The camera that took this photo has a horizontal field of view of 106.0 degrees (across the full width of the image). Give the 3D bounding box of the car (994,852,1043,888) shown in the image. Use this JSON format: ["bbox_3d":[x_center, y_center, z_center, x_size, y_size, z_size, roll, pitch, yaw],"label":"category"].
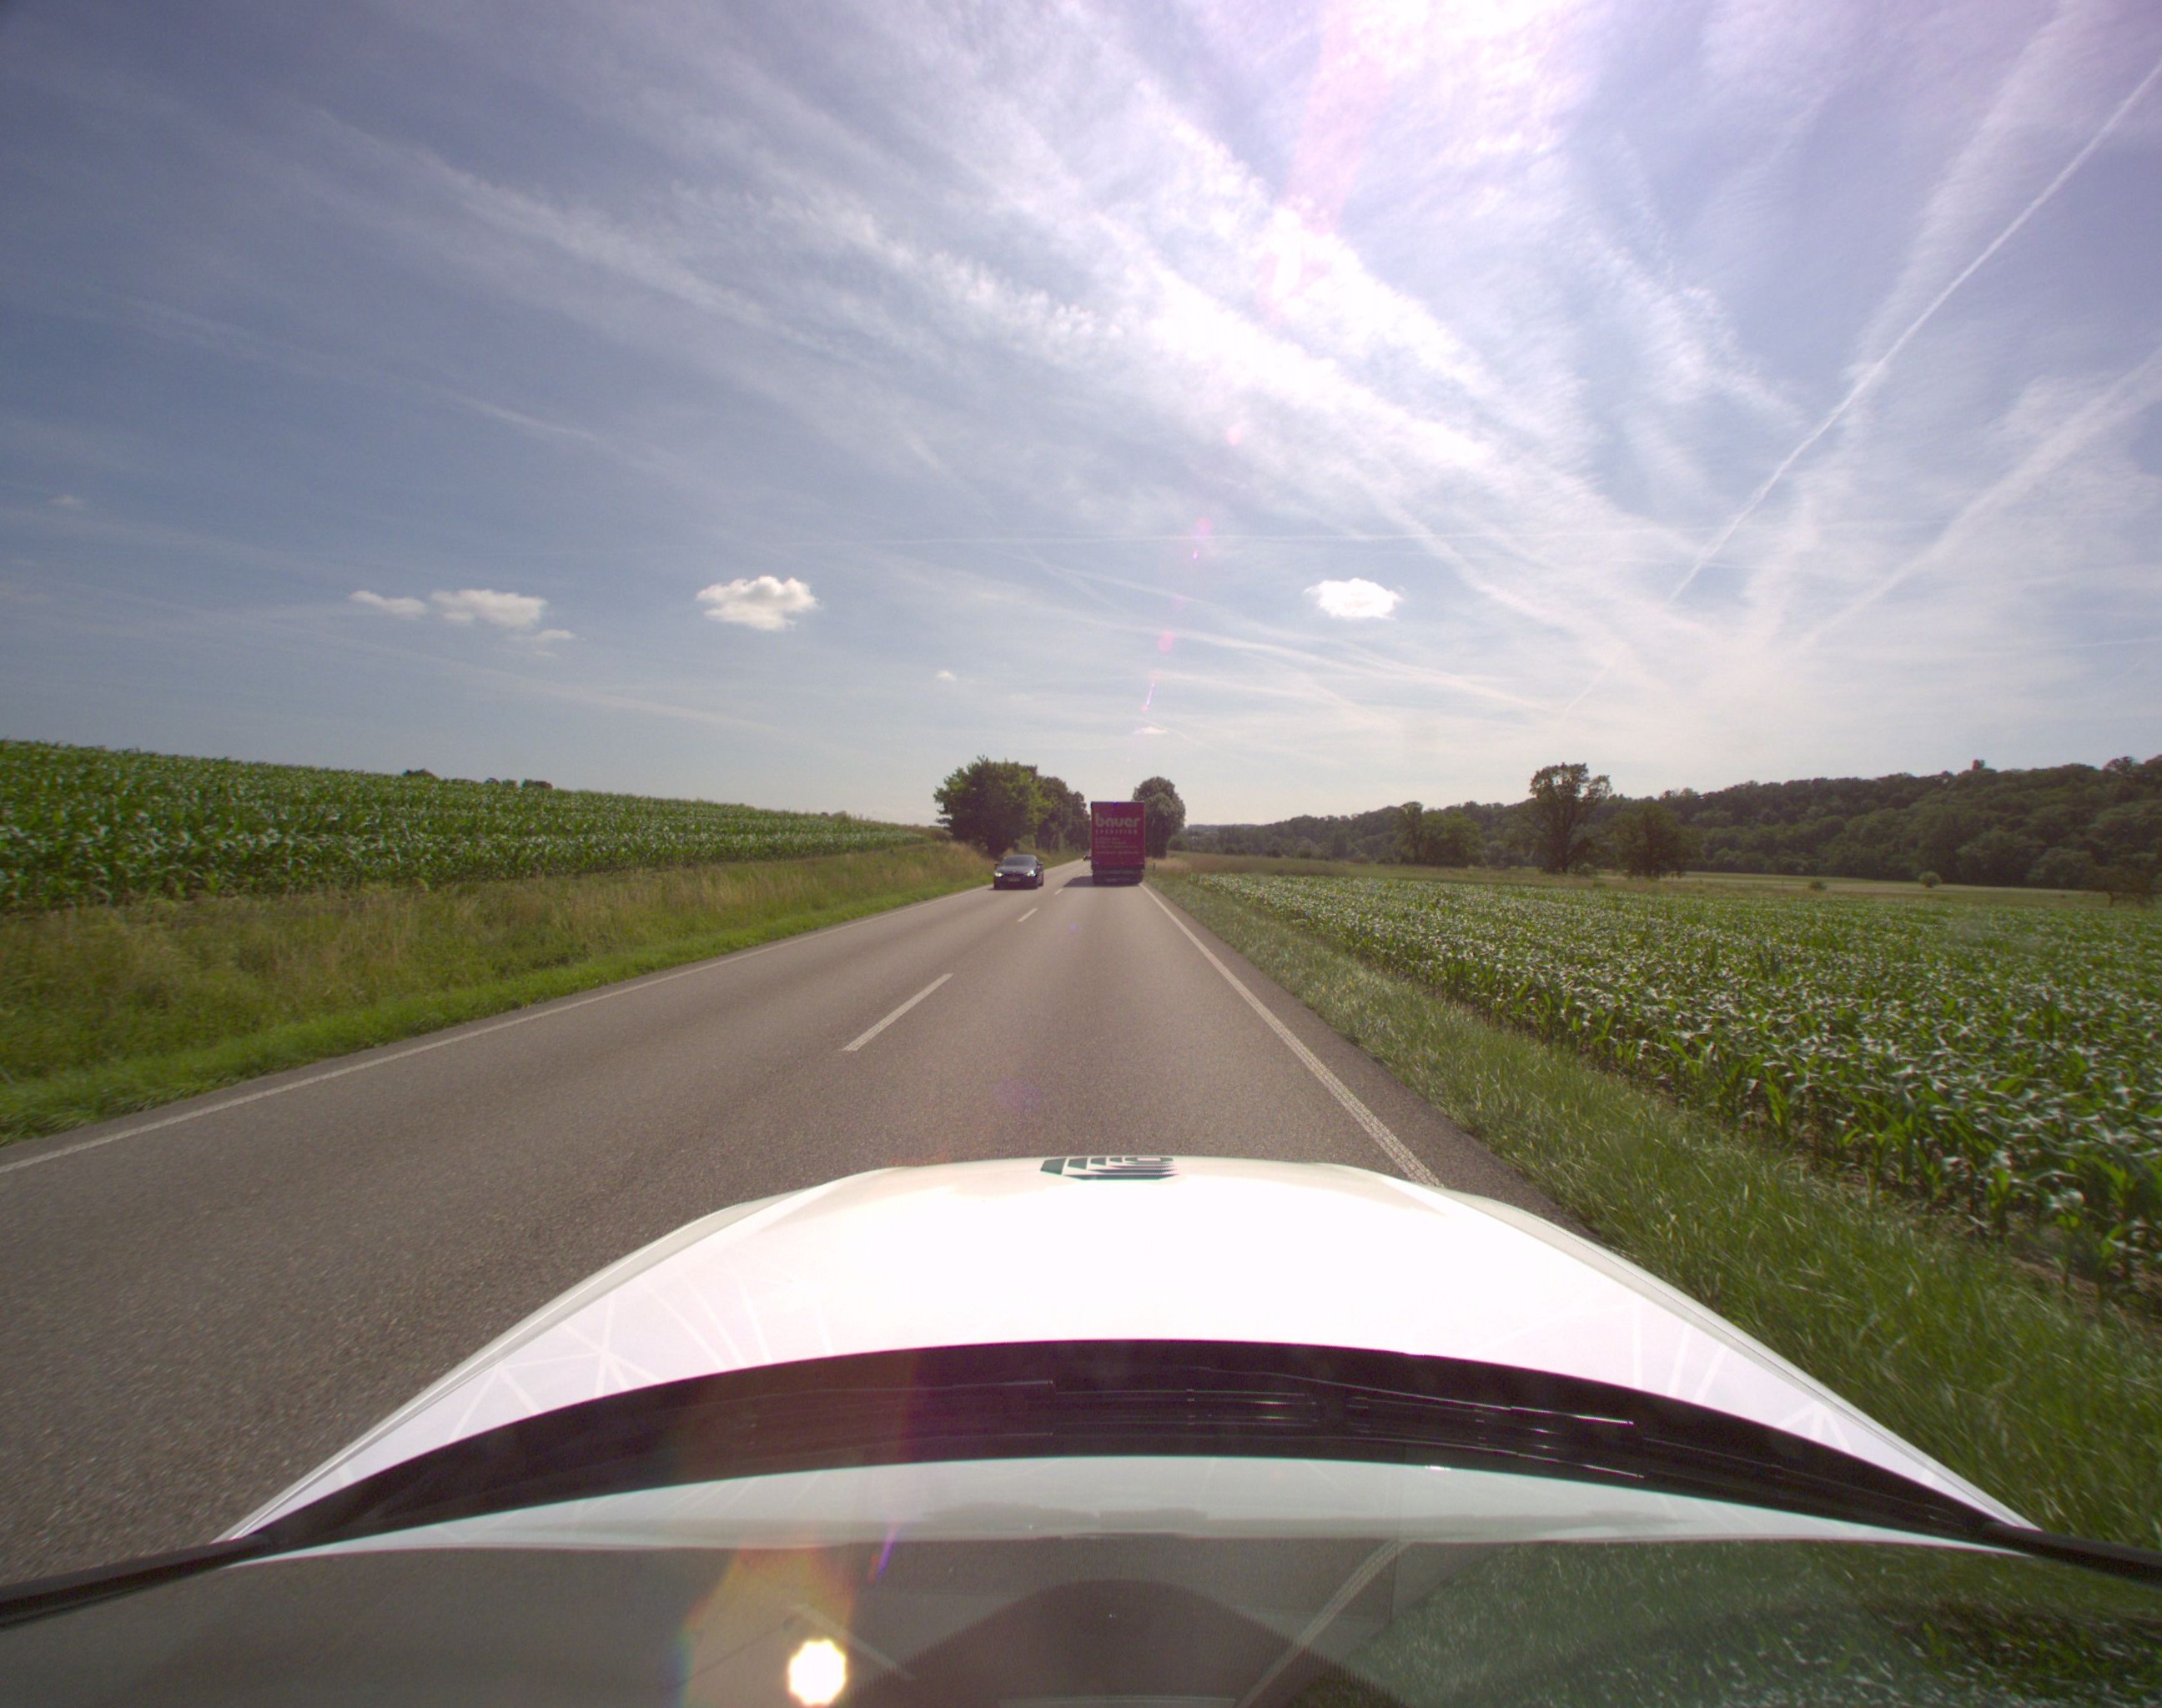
[{"bbox_3d":[-2.698,0.673,35.896,1.667,1.457,4.353,-1,0,2],"label":"car"}]

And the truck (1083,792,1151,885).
[{"bbox_3d":[1.966,-0.683,42.280,3.081,4.263,8.322,-1,-1,4],"label":"truck"}]

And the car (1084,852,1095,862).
[{"bbox_3d":[1.454,0.510,137.062,1.650,1.534,4.360,0,0,2],"label":"car"}]
